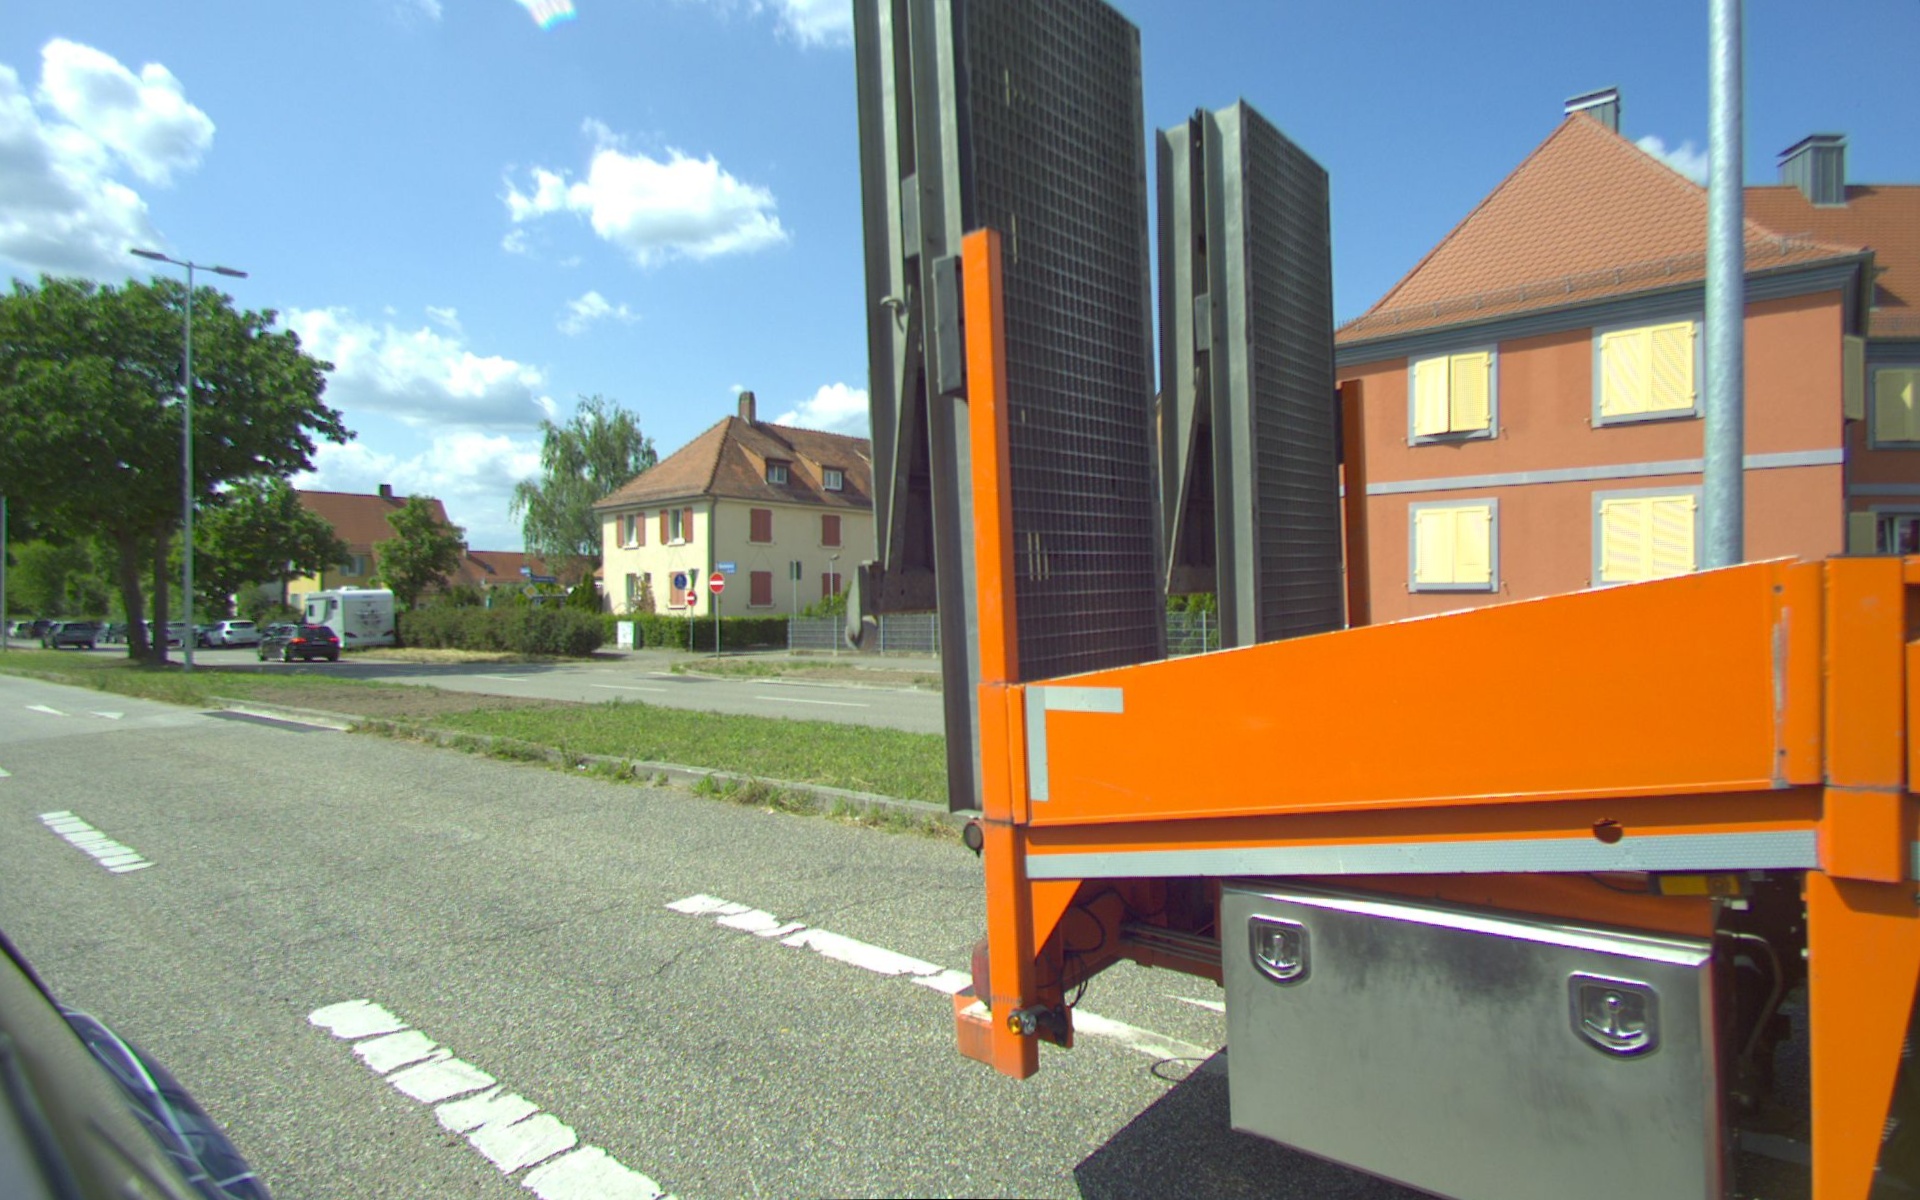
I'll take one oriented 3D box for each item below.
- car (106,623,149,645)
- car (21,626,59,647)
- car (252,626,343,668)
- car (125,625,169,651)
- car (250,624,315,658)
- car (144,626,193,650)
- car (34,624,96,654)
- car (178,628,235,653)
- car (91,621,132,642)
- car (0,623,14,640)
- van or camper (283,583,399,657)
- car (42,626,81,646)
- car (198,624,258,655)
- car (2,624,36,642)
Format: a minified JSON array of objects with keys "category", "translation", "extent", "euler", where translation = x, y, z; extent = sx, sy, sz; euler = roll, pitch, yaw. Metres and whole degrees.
[{"category":"car","translation":[-57.669,2.325,70.082],"extent":[4.350,1.405,1.389],"euler":[-1,1,38]},{"category":"car","translation":[-79.436,3.111,87.372],"extent":[4.307,1.624,1.645],"euler":[0,2,37]},{"category":"car","translation":[-25.290,1.760,38.554],"extent":[4.574,1.449,1.753],"euler":[-1,-1,41]},{"category":"car","translation":[-53.651,2.507,66.779],"extent":[3.736,1.569,1.389],"euler":[-1,1,38]},{"category":"car","translation":[-34.096,2.013,50.882],"extent":[3.989,1.496,1.620],"euler":[0,2,40]},{"category":"car","translation":[-49.681,2.361,63.498],"extent":[4.527,1.380,1.496],"euler":[-1,1,40]},{"category":"car","translation":[-49.013,2.129,55.415],"extent":[4.647,1.519,1.715],"euler":[0,-3,39]},{"category":"car","translation":[-44.281,2.350,59.414],"extent":[4.580,1.316,1.620],"euler":[-2,1,40]},{"category":"car","translation":[-61.143,2.246,72.942],"extent":[3.472,1.405,1.548],"euler":[0,2,38]},{"category":"car","translation":[-92.872,3.029,97.540],"extent":[3.993,1.563,1.751],"euler":[0,2,37]},{"category":"van or camper","translation":[-28.483,0.935,46.428],"extent":[7.314,3.135,2.236],"euler":[-2,1,40]},{"category":"car","translation":[-73.536,2.893,82.837],"extent":[3.840,1.462,1.645],"euler":[0,2,37]},{"category":"car","translation":[-40.502,2.160,55.960],"extent":[4.120,1.496,1.672],"euler":[0,2,40]},{"category":"car","translation":[-84.461,2.929,90.810],"extent":[3.529,1.472,1.579],"euler":[0,2,37]}]
